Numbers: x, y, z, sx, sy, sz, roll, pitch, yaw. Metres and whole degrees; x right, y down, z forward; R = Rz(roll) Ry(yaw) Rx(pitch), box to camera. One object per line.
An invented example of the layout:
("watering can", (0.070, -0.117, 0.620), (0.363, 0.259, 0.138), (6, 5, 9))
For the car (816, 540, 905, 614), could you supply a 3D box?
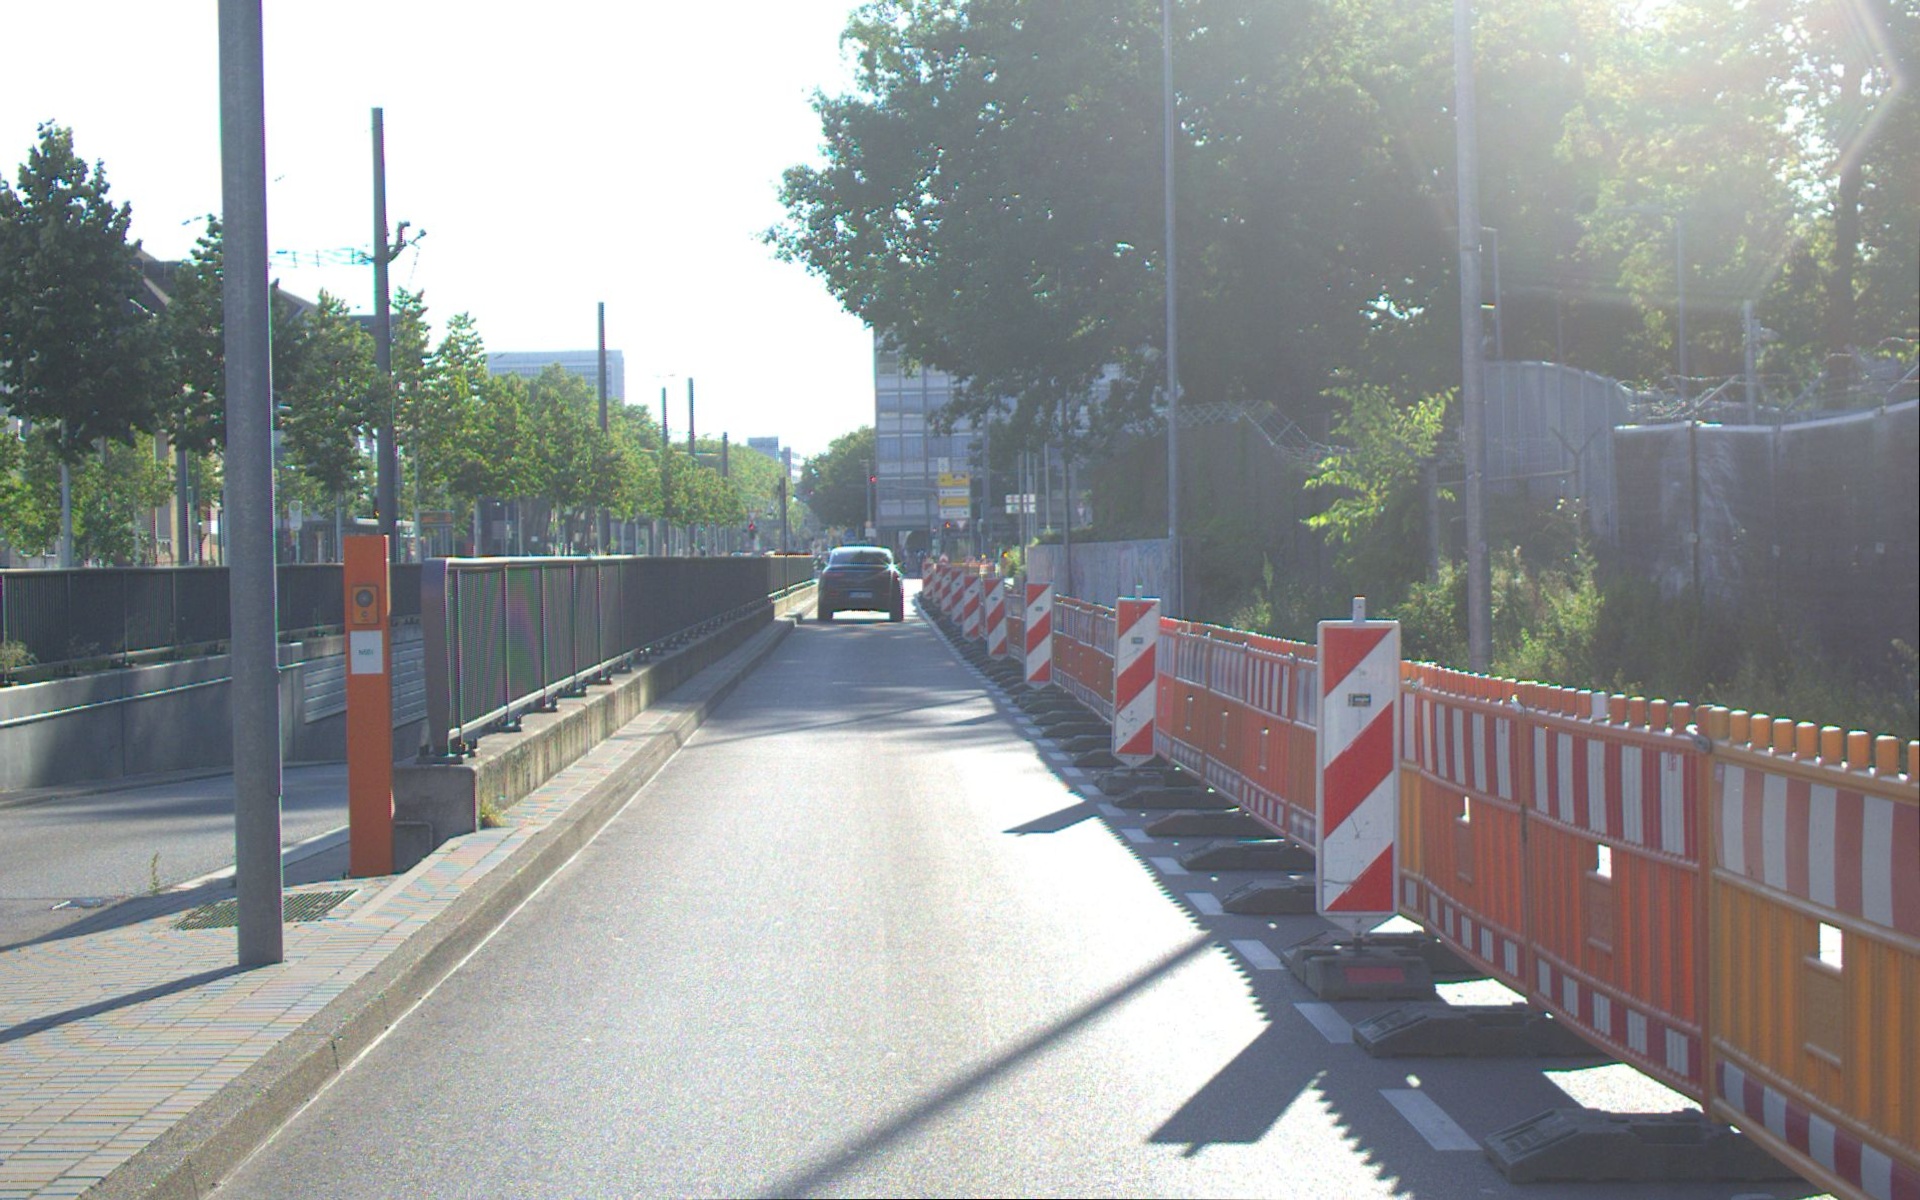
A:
("car", (-2.332, -0.542, 81.225), (2.005, 1.653, 4.000), (1, 0, -1))
